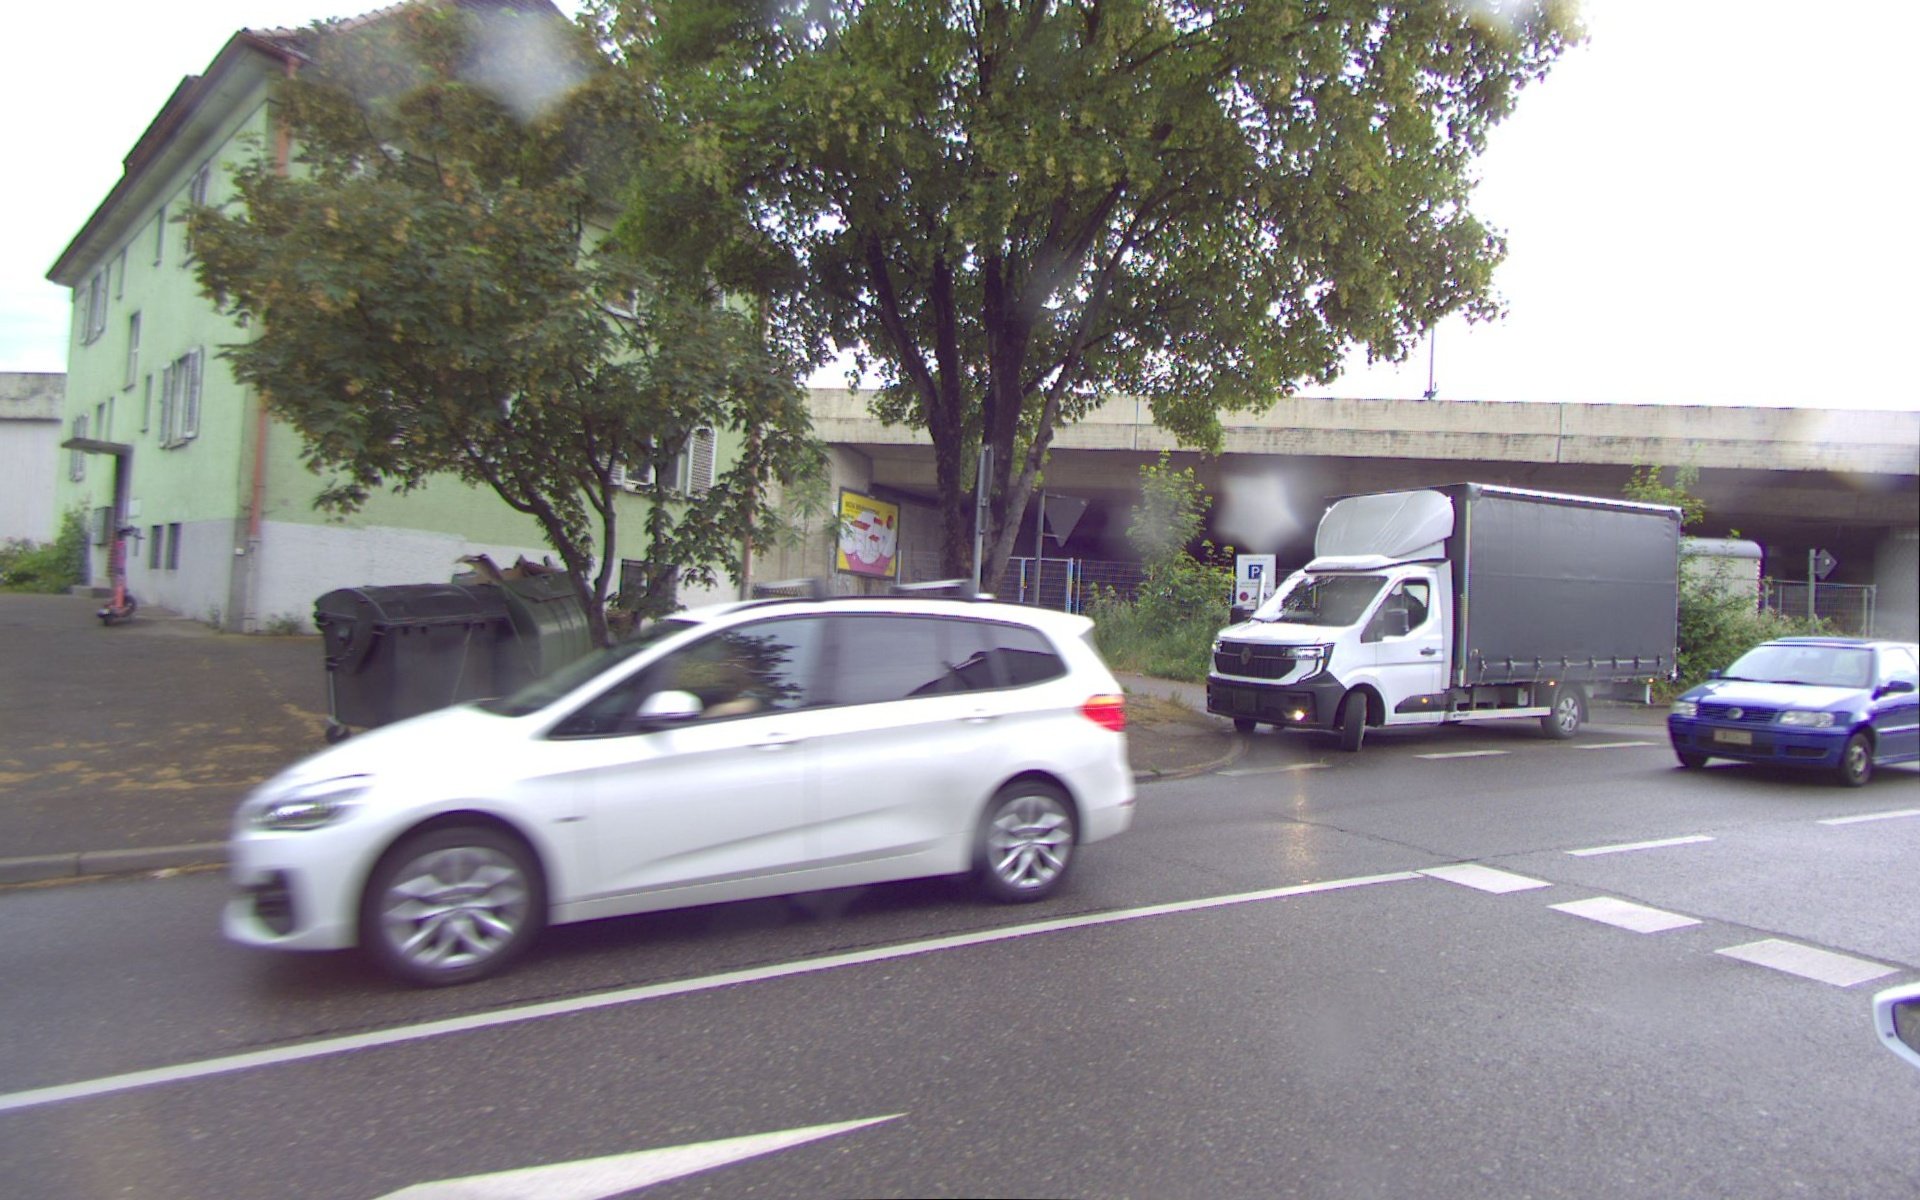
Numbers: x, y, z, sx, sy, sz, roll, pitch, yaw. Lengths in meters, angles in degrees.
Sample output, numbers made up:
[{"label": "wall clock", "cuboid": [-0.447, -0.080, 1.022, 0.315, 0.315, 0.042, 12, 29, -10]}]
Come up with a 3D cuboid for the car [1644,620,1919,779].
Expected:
[{"label": "car", "cuboid": [9.308, 0.981, 10.893, 3.650, 1.444, 1.591, 1, -1, -28]}]

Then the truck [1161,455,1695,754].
[{"label": "truck", "cuboid": [6.685, 0.187, 13.976, 7.678, 3.279, 2.600, 2, -1, -28]}]

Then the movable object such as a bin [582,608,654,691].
[{"label": "movable object such as a bin", "cuboid": [-4.156, 0.601, 12.203, 0.715, 0.970, 0.554, 3, -1, -29]}]

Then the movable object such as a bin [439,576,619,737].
[{"label": "movable object such as a bin", "cuboid": [-4.556, 0.544, 10.727, 1.078, 1.457, 1.463, 4, 5, 14]}]

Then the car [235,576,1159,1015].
[{"label": "car", "cuboid": [-1.178, 0.723, 5.488, 4.280, 1.599, 1.823, 1, 1, -29]}]

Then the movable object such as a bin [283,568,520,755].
[{"label": "movable object such as a bin", "cuboid": [-5.145, 0.496, 9.372, 1.268, 1.457, 1.463, 4, 5, 14]}]

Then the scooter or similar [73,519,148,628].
[{"label": "scooter or similar", "cuboid": [-10.933, -0.366, 12.958, 0.525, 1.290, 1.511, 3, 3, -34]}]
